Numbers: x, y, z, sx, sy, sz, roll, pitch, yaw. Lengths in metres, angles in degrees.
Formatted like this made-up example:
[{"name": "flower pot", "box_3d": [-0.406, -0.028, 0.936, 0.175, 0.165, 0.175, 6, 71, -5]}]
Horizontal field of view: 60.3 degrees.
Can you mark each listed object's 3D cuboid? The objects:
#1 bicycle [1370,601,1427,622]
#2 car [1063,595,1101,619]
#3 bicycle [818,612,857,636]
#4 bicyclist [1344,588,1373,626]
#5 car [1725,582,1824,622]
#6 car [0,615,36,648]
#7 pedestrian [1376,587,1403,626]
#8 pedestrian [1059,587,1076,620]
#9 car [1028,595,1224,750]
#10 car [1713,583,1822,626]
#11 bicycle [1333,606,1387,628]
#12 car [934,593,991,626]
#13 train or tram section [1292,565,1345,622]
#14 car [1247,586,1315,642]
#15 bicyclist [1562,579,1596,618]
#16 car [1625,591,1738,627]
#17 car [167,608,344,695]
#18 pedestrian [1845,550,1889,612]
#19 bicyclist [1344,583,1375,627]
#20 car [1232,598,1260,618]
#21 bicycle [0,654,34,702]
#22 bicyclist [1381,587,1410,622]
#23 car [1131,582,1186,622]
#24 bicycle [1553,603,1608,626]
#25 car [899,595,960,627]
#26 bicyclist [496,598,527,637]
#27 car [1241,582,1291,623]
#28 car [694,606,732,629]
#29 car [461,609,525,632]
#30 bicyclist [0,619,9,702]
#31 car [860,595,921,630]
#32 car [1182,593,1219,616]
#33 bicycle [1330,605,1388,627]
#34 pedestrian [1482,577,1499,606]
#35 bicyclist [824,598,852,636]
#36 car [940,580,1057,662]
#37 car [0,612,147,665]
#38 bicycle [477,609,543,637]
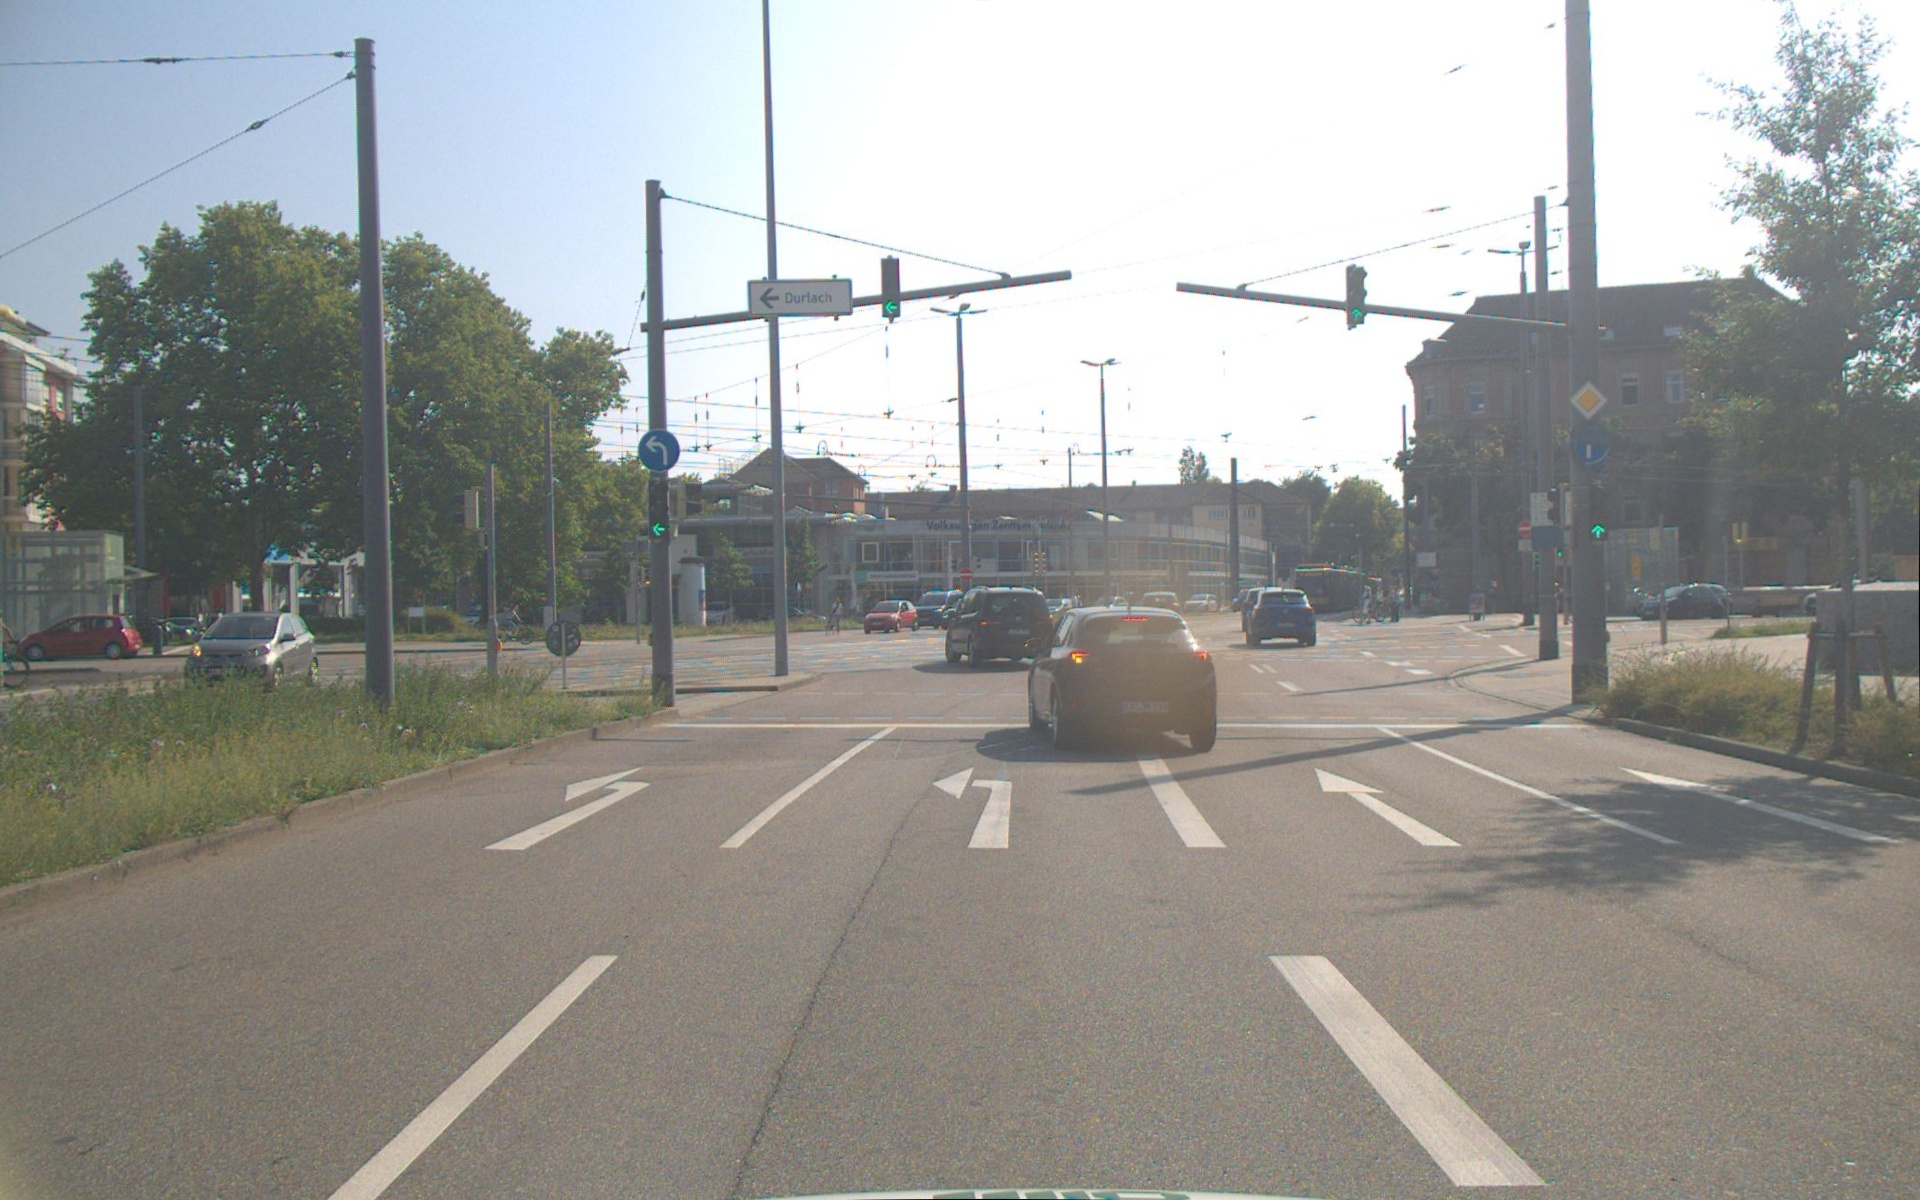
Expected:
[{"name": "bicycle", "box_3d": [21.640, 0.579, 81.633, 2.581, 0.981, 1.086, -1, 0, -22]}, {"name": "car", "box_3d": [8.134, 0.450, 110.262, 1.580, 1.501, 4.002, -3, -1, 18]}, {"name": "bicycle", "box_3d": [-5.805, 1.141, 78.494, 0.937, 1.075, 2.609, -1, 0, 18]}, {"name": "bicyclist", "box_3d": [19.297, 0.348, 80.142, 0.921, 1.831, 1.086, -1, 0, -21]}, {"name": "car", "box_3d": [40.445, 0.089, 82.140, 4.189, 1.891, 1.924, -1, 0, -16]}, {"name": "car", "box_3d": [-41.302, 1.351, 69.452, 4.090, 1.378, 1.475, -1, 0, -17]}, {"name": "pedestrian", "box_3d": [20.526, 0.291, 79.052, 0.919, 1.828, 0.848, -1, 0, -39]}, {"name": "pedestrian", "box_3d": [5.051, 0.171, 77.626, 0.761, 1.529, 0.711, -1, 0, 7]}, {"name": "car", "box_3d": [1.731, 0.713, 18.493, 1.648, 1.518, 4.371, 0, 0, -1]}, {"name": "car", "box_3d": [36.559, 0.203, 74.874, 4.632, 1.891, 1.896, -1, 0, -24]}, {"name": "bicycle", "box_3d": [18.844, 0.786, 77.891, 2.597, 0.981, 1.080, -1, 0, -35]}, {"name": "car", "box_3d": [0.172, 0.445, 79.525, 1.580, 1.501, 4.002, -3, -1, 17]}, {"name": "train or tram section", "box_3d": [25.150, -0.513, 115.708, 2.599, 3.763, 10.595, -1, 0, 17]}, {"name": "car", "box_3d": [9.103, 0.365, 47.121, 1.786, 1.453, 4.416, -1, 0, 10]}, {"name": "bicyclist", "box_3d": [27.887, -0.069, 74.530, 0.926, 1.738, 1.080, -1, 0, -35]}, {"name": "car", "box_3d": [30.121, 0.360, 69.060, 4.319, 1.421, 2.007, -1, 0, -26]}, {"name": "car", "box_3d": [-13.186, 0.923, 31.197, 1.851, 1.477, 3.673, -1, 0, -2]}, {"name": "pedestrian", "box_3d": [25.754, -0.528, 46.965, 0.906, 1.719, 0.919, -1, 0, 42]}, {"name": "bicyclist", "box_3d": [18.797, 0.233, 77.869, 0.926, 2.059, 1.080, -1, 0, -35]}, {"name": "car", "box_3d": [23.171, 0.602, 134.005, 1.580, 1.501, 4.002, -3, -1, 18]}, {"name": "bicycle", "box_3d": [-19.992, 1.605, 33.705, 1.779, 0.948, 0.724, -1, 0, -9]}, {"name": "bicyclist", "box_3d": [21.459, 0.209, 81.555, 0.921, 1.709, 1.086, -1, 0, -21]}, {"name": "car", "box_3d": [8.238, 0.055, 68.343, 1.786, 1.562, 4.416, -1, 0, 12]}, {"name": "bicycle", "box_3d": [27.987, 0.642, 74.595, 2.597, 0.981, 1.079, -1, -1, -35]}, {"name": "car", "box_3d": [-1.548, 0.527, 84.771, 1.919, 1.501, 4.002, -3, -1, 17]}, {"name": "bicyclist", "box_3d": [-18.446, 0.706, 68.044, 1.142, 1.554, 0.958, -1, 0, -13]}, {"name": "car", "box_3d": [11.628, 0.066, 62.878, 1.786, 1.453, 4.416, -1, 0, 10]}, {"name": "car", "box_3d": [-17.492, 1.245, 117.466, 1.663, 1.549, 4.102, -1, 0, 6]}, {"name": "car", "box_3d": [-33.812, 1.471, 119.772, 1.669, 1.549, 4.502, -1, 0, 33]}, {"name": "bicyclist", "box_3d": [-20.003, 1.243, 33.705, 0.865, 1.681, 0.724, -1, 0, -9]}, {"name": "car", "box_3d": [-3.241, 0.582, 77.692, 1.580, 1.501, 4.002, -3, -1, 17]}, {"name": "car", "box_3d": [17.366, 0.296, 119.338, 1.582, 1.501, 3.998, -3, -1, 24]}, {"name": "bicycle", "box_3d": [19.318, 0.776, 80.150, 2.581, 0.981, 1.086, -1, 0, -22]}, {"name": "pedestrian", "box_3d": [27.488, -0.431, 85.718, 0.662, 1.496, 0.538, -1, 0, -42]}, {"name": "bicyclist", "box_3d": [-5.800, 0.791, 78.520, 0.937, 1.779, 1.167, -1, 0, 18]}, {"name": "car", "box_3d": [0.813, 0.444, 37.621, 1.793, 1.744, 4.401, -1, 0, -11]}, {"name": "car", "box_3d": [-29.073, 1.229, 53.914, 4.327, 1.562, 1.823, -1, 0, -17]}, {"name": "bicycle", "box_3d": [-18.491, 0.946, 68.036, 2.554, 1.075, 0.958, -1, 0, -13]}]
